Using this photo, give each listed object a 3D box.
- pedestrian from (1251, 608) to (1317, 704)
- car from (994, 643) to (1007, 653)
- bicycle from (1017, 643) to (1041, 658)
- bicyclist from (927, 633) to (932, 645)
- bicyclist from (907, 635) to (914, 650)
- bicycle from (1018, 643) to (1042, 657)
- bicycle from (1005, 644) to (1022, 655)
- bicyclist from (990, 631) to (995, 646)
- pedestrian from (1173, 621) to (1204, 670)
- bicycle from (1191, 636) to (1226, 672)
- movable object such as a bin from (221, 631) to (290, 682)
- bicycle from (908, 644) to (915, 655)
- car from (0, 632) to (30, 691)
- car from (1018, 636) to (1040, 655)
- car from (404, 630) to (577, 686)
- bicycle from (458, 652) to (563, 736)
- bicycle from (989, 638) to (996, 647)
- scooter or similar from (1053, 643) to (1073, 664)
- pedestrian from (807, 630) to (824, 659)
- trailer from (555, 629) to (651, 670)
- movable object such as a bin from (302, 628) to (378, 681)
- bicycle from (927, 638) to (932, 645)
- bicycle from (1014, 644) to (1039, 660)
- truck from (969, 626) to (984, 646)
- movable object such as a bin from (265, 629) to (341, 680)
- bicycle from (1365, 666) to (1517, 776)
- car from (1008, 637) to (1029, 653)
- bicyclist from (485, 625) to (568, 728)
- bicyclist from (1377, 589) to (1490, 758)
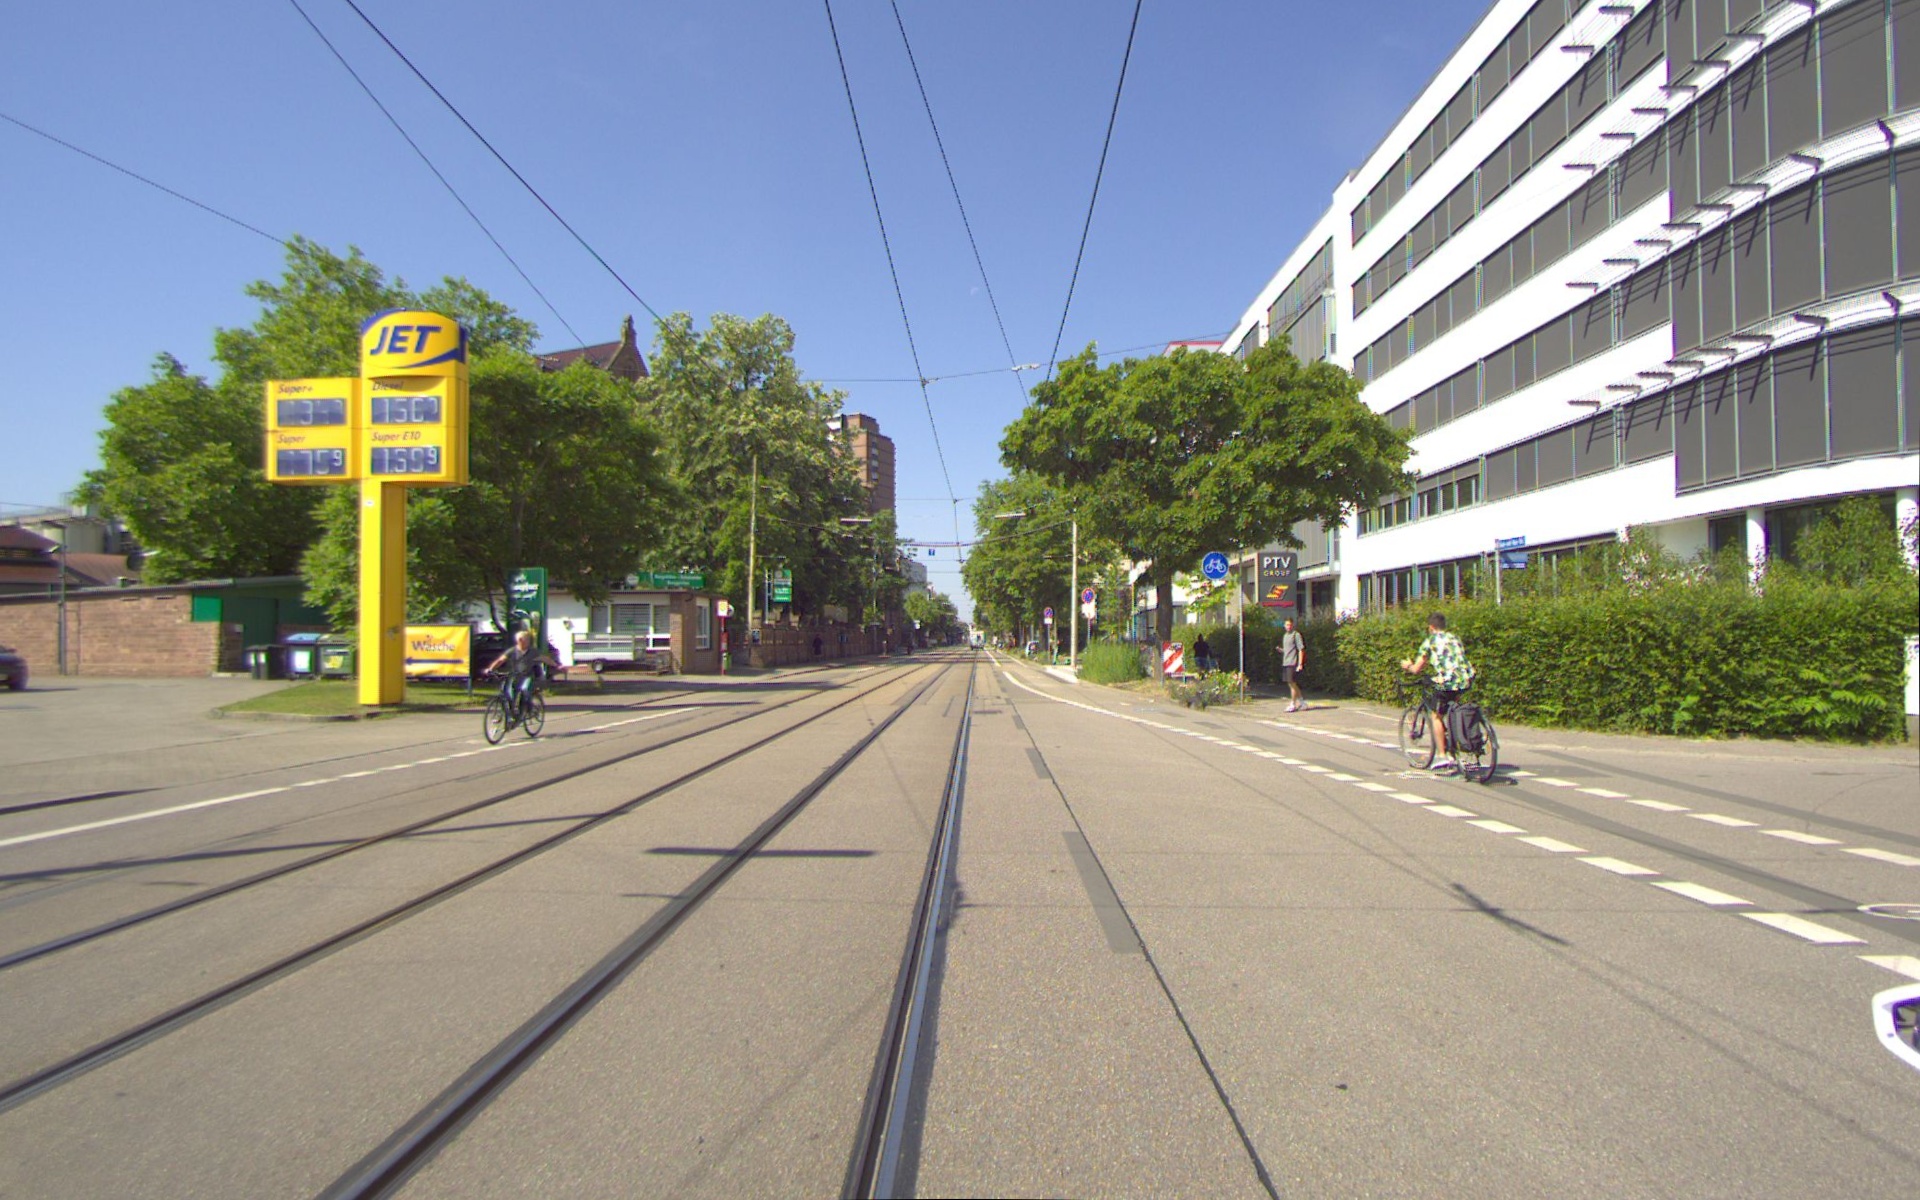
[{"bbox_3d":[6.425,1.107,19.977,0.875,1.841,1.072,0,-2,-6],"label":"pedestrian"},{"bbox_3d":[5.765,6.897,144.071,1.603,1.372,3.902,-1,-2,-1],"label":"car"},{"bbox_3d":[5.379,3.946,77.968,1.818,1.146,0.680,-1,-2,0],"label":"bicycle"},{"bbox_3d":[-4.787,6.093,156.973,0.713,1.720,1.147,-1,-2,0],"label":"bicyclist"},{"bbox_3d":[-5.144,4.396,104.491,0.728,1.551,0.948,0,-2,1],"label":"bicyclist"},{"bbox_3d":[5.419,3.851,77.441,1.763,1.100,0.727,-1,-2,0],"label":"bicycle"},{"bbox_3d":[5.551,5.121,104.384,1.696,1.100,0.478,-1,-2,0],"label":"bicycle"},{"bbox_3d":[4.139,4.914,127.807,0.625,1.896,1.024,-1,-2,0],"label":"bicyclist"},{"bbox_3d":[7.637,1.529,33.585,0.675,1.583,0.988,-2,-2,-4],"label":"pedestrian"},{"bbox_3d":[8.240,1.780,33.365,0.625,1.132,2.067,0,-2,0],"label":"bicycle"},{"bbox_3d":[-21.981,1.748,31.344,1.306,1.522,1.329,-3,-2,29],"label":"movable object such as a bin"},{"bbox_3d":[-5.101,5.130,104.771,0.582,1.120,2.055,0,-2,1],"label":"bicycle"},{"bbox_3d":[-26.513,1.620,26.179,4.472,1.480,1.890,-1,0,27],"label":"car"},{"bbox_3d":[5.706,3.774,83.246,1.602,1.491,3.632,0,-2,1],"label":"car"},{"bbox_3d":[-14.952,1.820,32.163,1.993,1.662,4.632,-2,-3,44],"label":"car"},{"bbox_3d":[-7.188,1.471,16.186,0.599,1.213,2.124,0,-2,4],"label":"bicycle"},{"bbox_3d":[4.100,5.411,127.700,0.841,1.125,2.140,0,-2,0],"label":"bicycle"},{"bbox_3d":[6.098,3.161,59.477,1.107,1.182,0.676,-1,-2,3],"label":"scooter or similar"},{"bbox_3d":[-9.463,2.915,65.813,0.960,1.839,1.185,0,-2,1],"label":"pedestrian"},{"bbox_3d":[-14.276,1.983,40.261,3.219,1.624,1.724,0,-2,2],"label":"trailer"},{"bbox_3d":[-18.535,1.618,30.073,1.393,1.522,1.380,0,-2,4],"label":"movable object such as a bin"},{"bbox_3d":[-4.783,6.468,156.846,0.651,1.169,2.014,0,-2,1],"label":"bicycle"},{"bbox_3d":[4.817,3.752,72.940,1.696,1.100,0.789,-1,-2,0],"label":"bicycle"},{"bbox_3d":[2.616,5.780,161.681,2.362,3.149,6.039,0,-2,0],"label":"truck"},{"bbox_3d":[-20.104,1.658,30.760,1.394,1.522,1.380,-1,-2,16],"label":"movable object such as a bin"},{"bbox_3d":[5.104,1.243,10.839,0.598,0.996,2.164,0,-2,0],"label":"bicycle"},{"bbox_3d":[5.500,4.288,95.522,1.603,1.502,4.273,0,-2,-2],"label":"car"},{"bbox_3d":[-7.073,1.229,16.433,0.888,1.616,0.965,-1,-2,3],"label":"bicyclist"},{"bbox_3d":[5.105,0.775,10.884,0.704,1.746,0.988,0,-2,-2],"label":"bicyclist"}]
